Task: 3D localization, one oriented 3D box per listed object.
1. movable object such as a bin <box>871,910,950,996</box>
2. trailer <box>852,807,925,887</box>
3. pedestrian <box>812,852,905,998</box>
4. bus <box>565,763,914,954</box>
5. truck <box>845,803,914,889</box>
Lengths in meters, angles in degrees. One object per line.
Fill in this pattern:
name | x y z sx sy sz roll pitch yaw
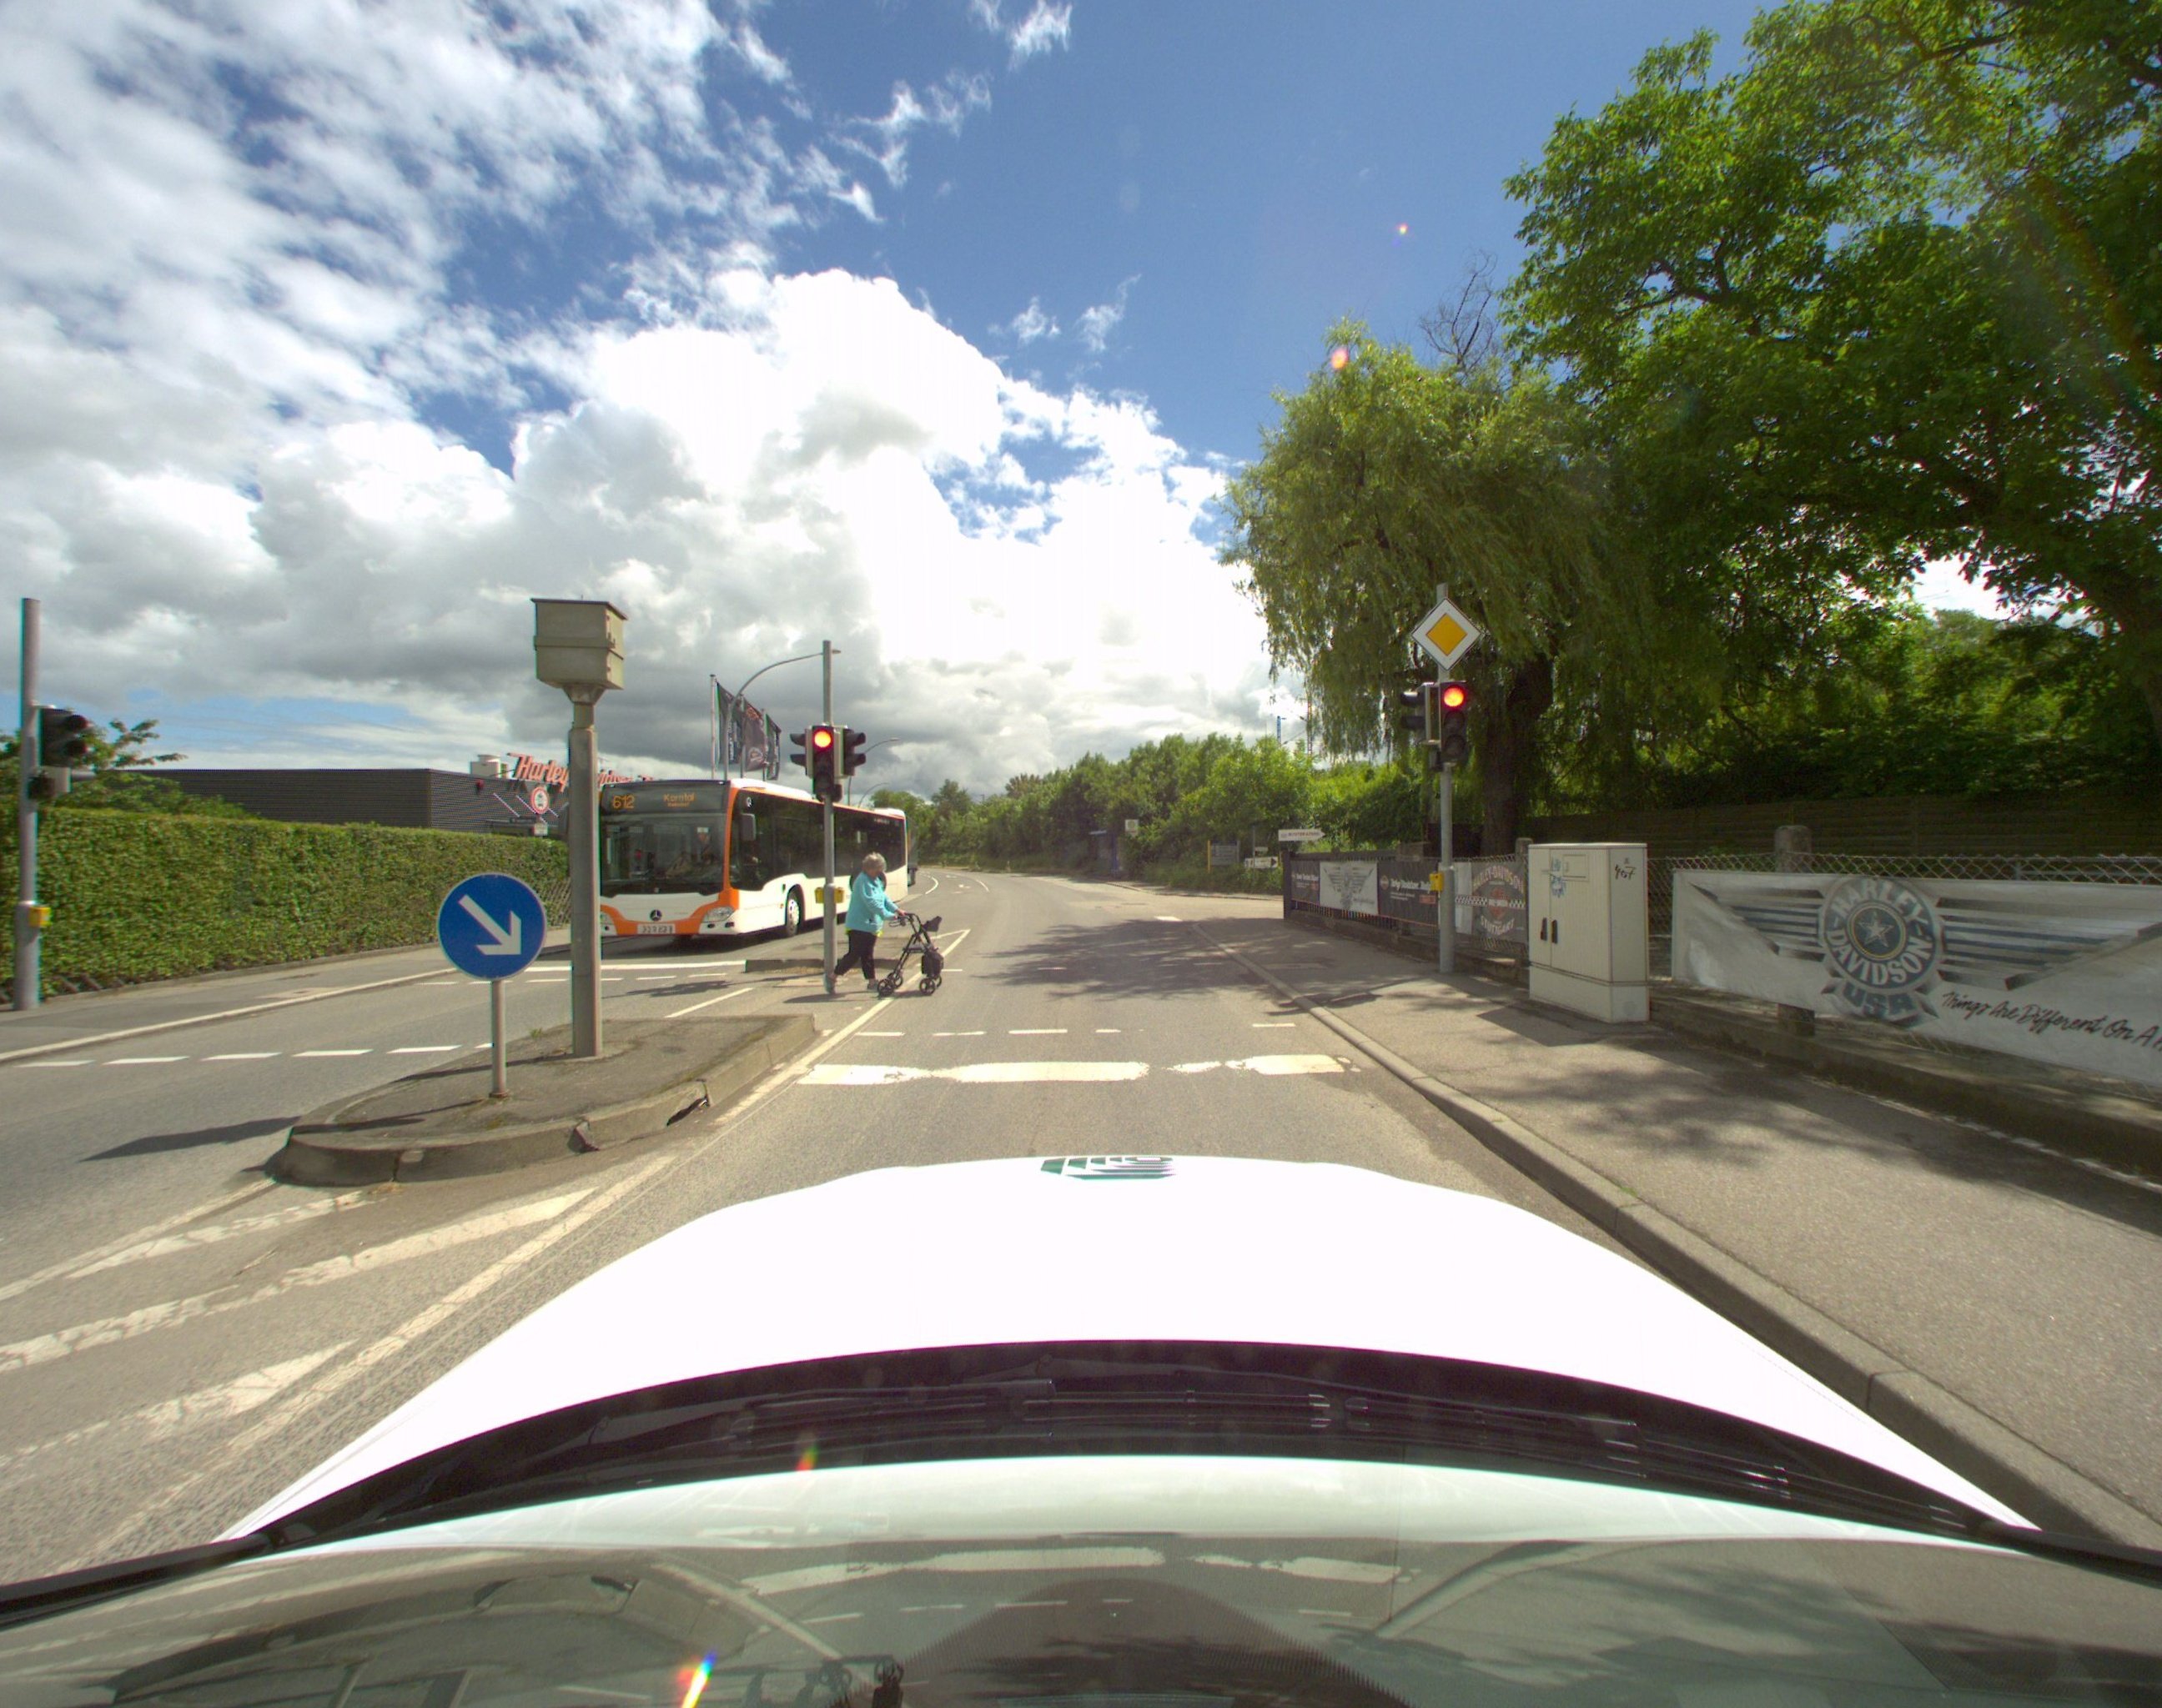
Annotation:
movable object such as a bin | -1.879 1.085 9.049 0.744 0.871 0.670 0 -1 -2
trailer | -11.268 -0.300 49.149 2.797 4.053 15.513 0 0 -8
pedestrian | -2.452 0.758 9.049 0.836 1.543 0.733 0 -1 -2
bus | -6.812 0.123 19.366 2.708 3.031 12.270 -2 -1 2
truck | -10.264 -0.362 42.105 2.797 4.053 6.483 0 -1 -8
